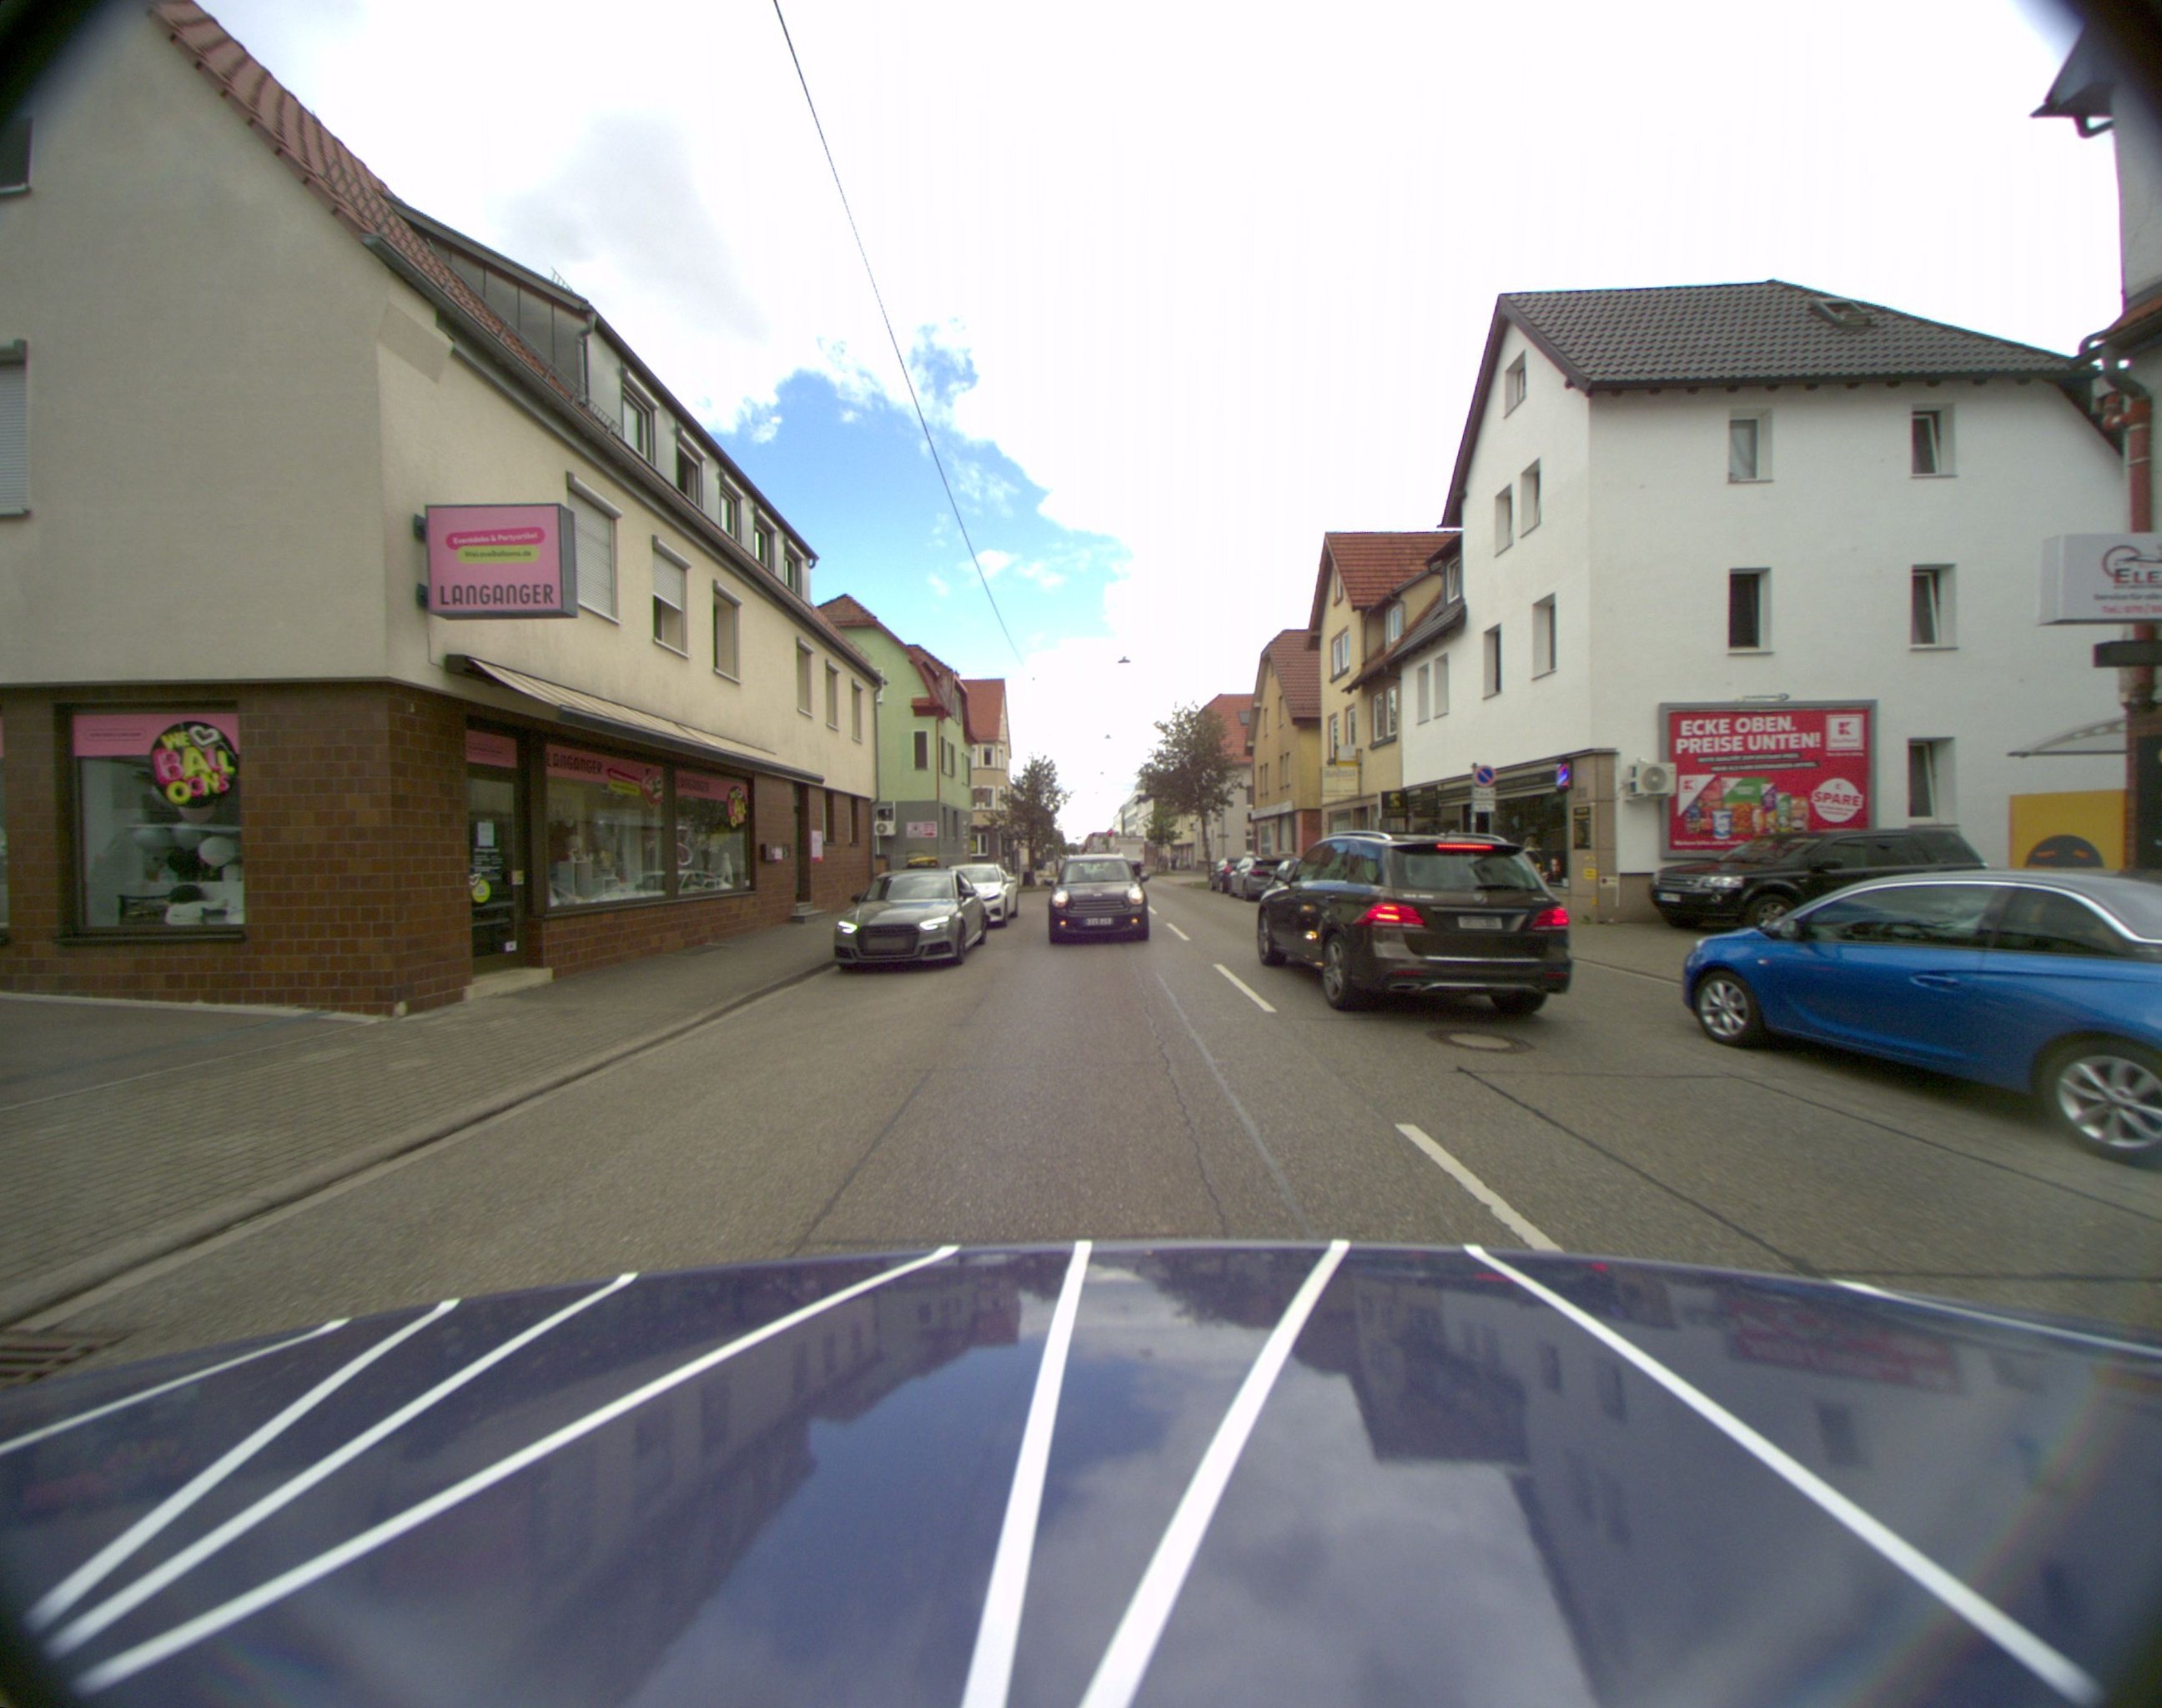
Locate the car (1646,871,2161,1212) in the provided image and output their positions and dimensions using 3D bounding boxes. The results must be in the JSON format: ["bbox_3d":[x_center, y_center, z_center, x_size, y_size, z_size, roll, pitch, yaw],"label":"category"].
[{"bbox_3d":[5.909,0.917,4.948,1.686,1.490,3.775,1,1,1],"label":"car"}]

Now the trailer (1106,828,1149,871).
[{"bbox_3d":[3.608,-0.416,60.556,2.510,3.201,7.131,-2,1,-4],"label":"trailer"}]

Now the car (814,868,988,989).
[{"bbox_3d":[-2.634,1.019,12.140,1.836,1.437,4.109,-2,0,-1],"label":"car"}]

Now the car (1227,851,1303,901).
[{"bbox_3d":[6.243,0.693,26.254,1.714,1.557,4.113,1,1,1],"label":"car"}]

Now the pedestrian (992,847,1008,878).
[{"bbox_3d":[-4.590,0.453,43.060,0.752,1.710,0.900,-2,1,1],"label":"pedestrian"}]

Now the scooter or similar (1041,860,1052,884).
[{"bbox_3d":[-1.881,0.971,41.650,0.503,1.228,1.942,-2,1,0],"label":"scooter or similar"}]

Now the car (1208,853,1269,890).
[{"bbox_3d":[6.504,0.668,31.734,1.686,1.416,3.930,1,1,0],"label":"car"}]

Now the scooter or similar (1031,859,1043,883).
[{"bbox_3d":[-2.419,0.923,41.647,0.503,1.228,1.942,-2,1,0],"label":"scooter or similar"}]

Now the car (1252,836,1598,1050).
[{"bbox_3d":[3.285,0.712,8.380,1.905,1.727,4.366,1,1,1],"label":"car"}]

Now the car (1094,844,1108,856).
[{"bbox_3d":[2.962,-0.556,112.768,1.998,1.786,4.277,0,1,0],"label":"car"}]

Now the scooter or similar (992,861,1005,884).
[{"bbox_3d":[-4.589,1.009,42.153,0.591,1.225,0.891,-2,1,0],"label":"scooter or similar"}]

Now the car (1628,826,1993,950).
[{"bbox_3d":[11.551,0.494,12.260,3.997,1.692,1.999,-2,1,-2],"label":"car"}]

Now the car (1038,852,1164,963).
[{"bbox_3d":[0.318,0.818,13.879,1.847,1.571,4.428,-3,1,0],"label":"car"}]

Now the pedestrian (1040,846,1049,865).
[{"bbox_3d":[-3.959,0.136,81.748,0.826,2.063,1.011,2,1,3],"label":"pedestrian"}]

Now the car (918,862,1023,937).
[{"bbox_3d":[-2.514,0.997,18.350,1.836,1.437,4.331,-2,0,0],"label":"car"}]

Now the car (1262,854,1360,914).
[{"bbox_3d":[6.206,0.754,20.904,1.686,1.484,3.591,1,1,1],"label":"car"}]
